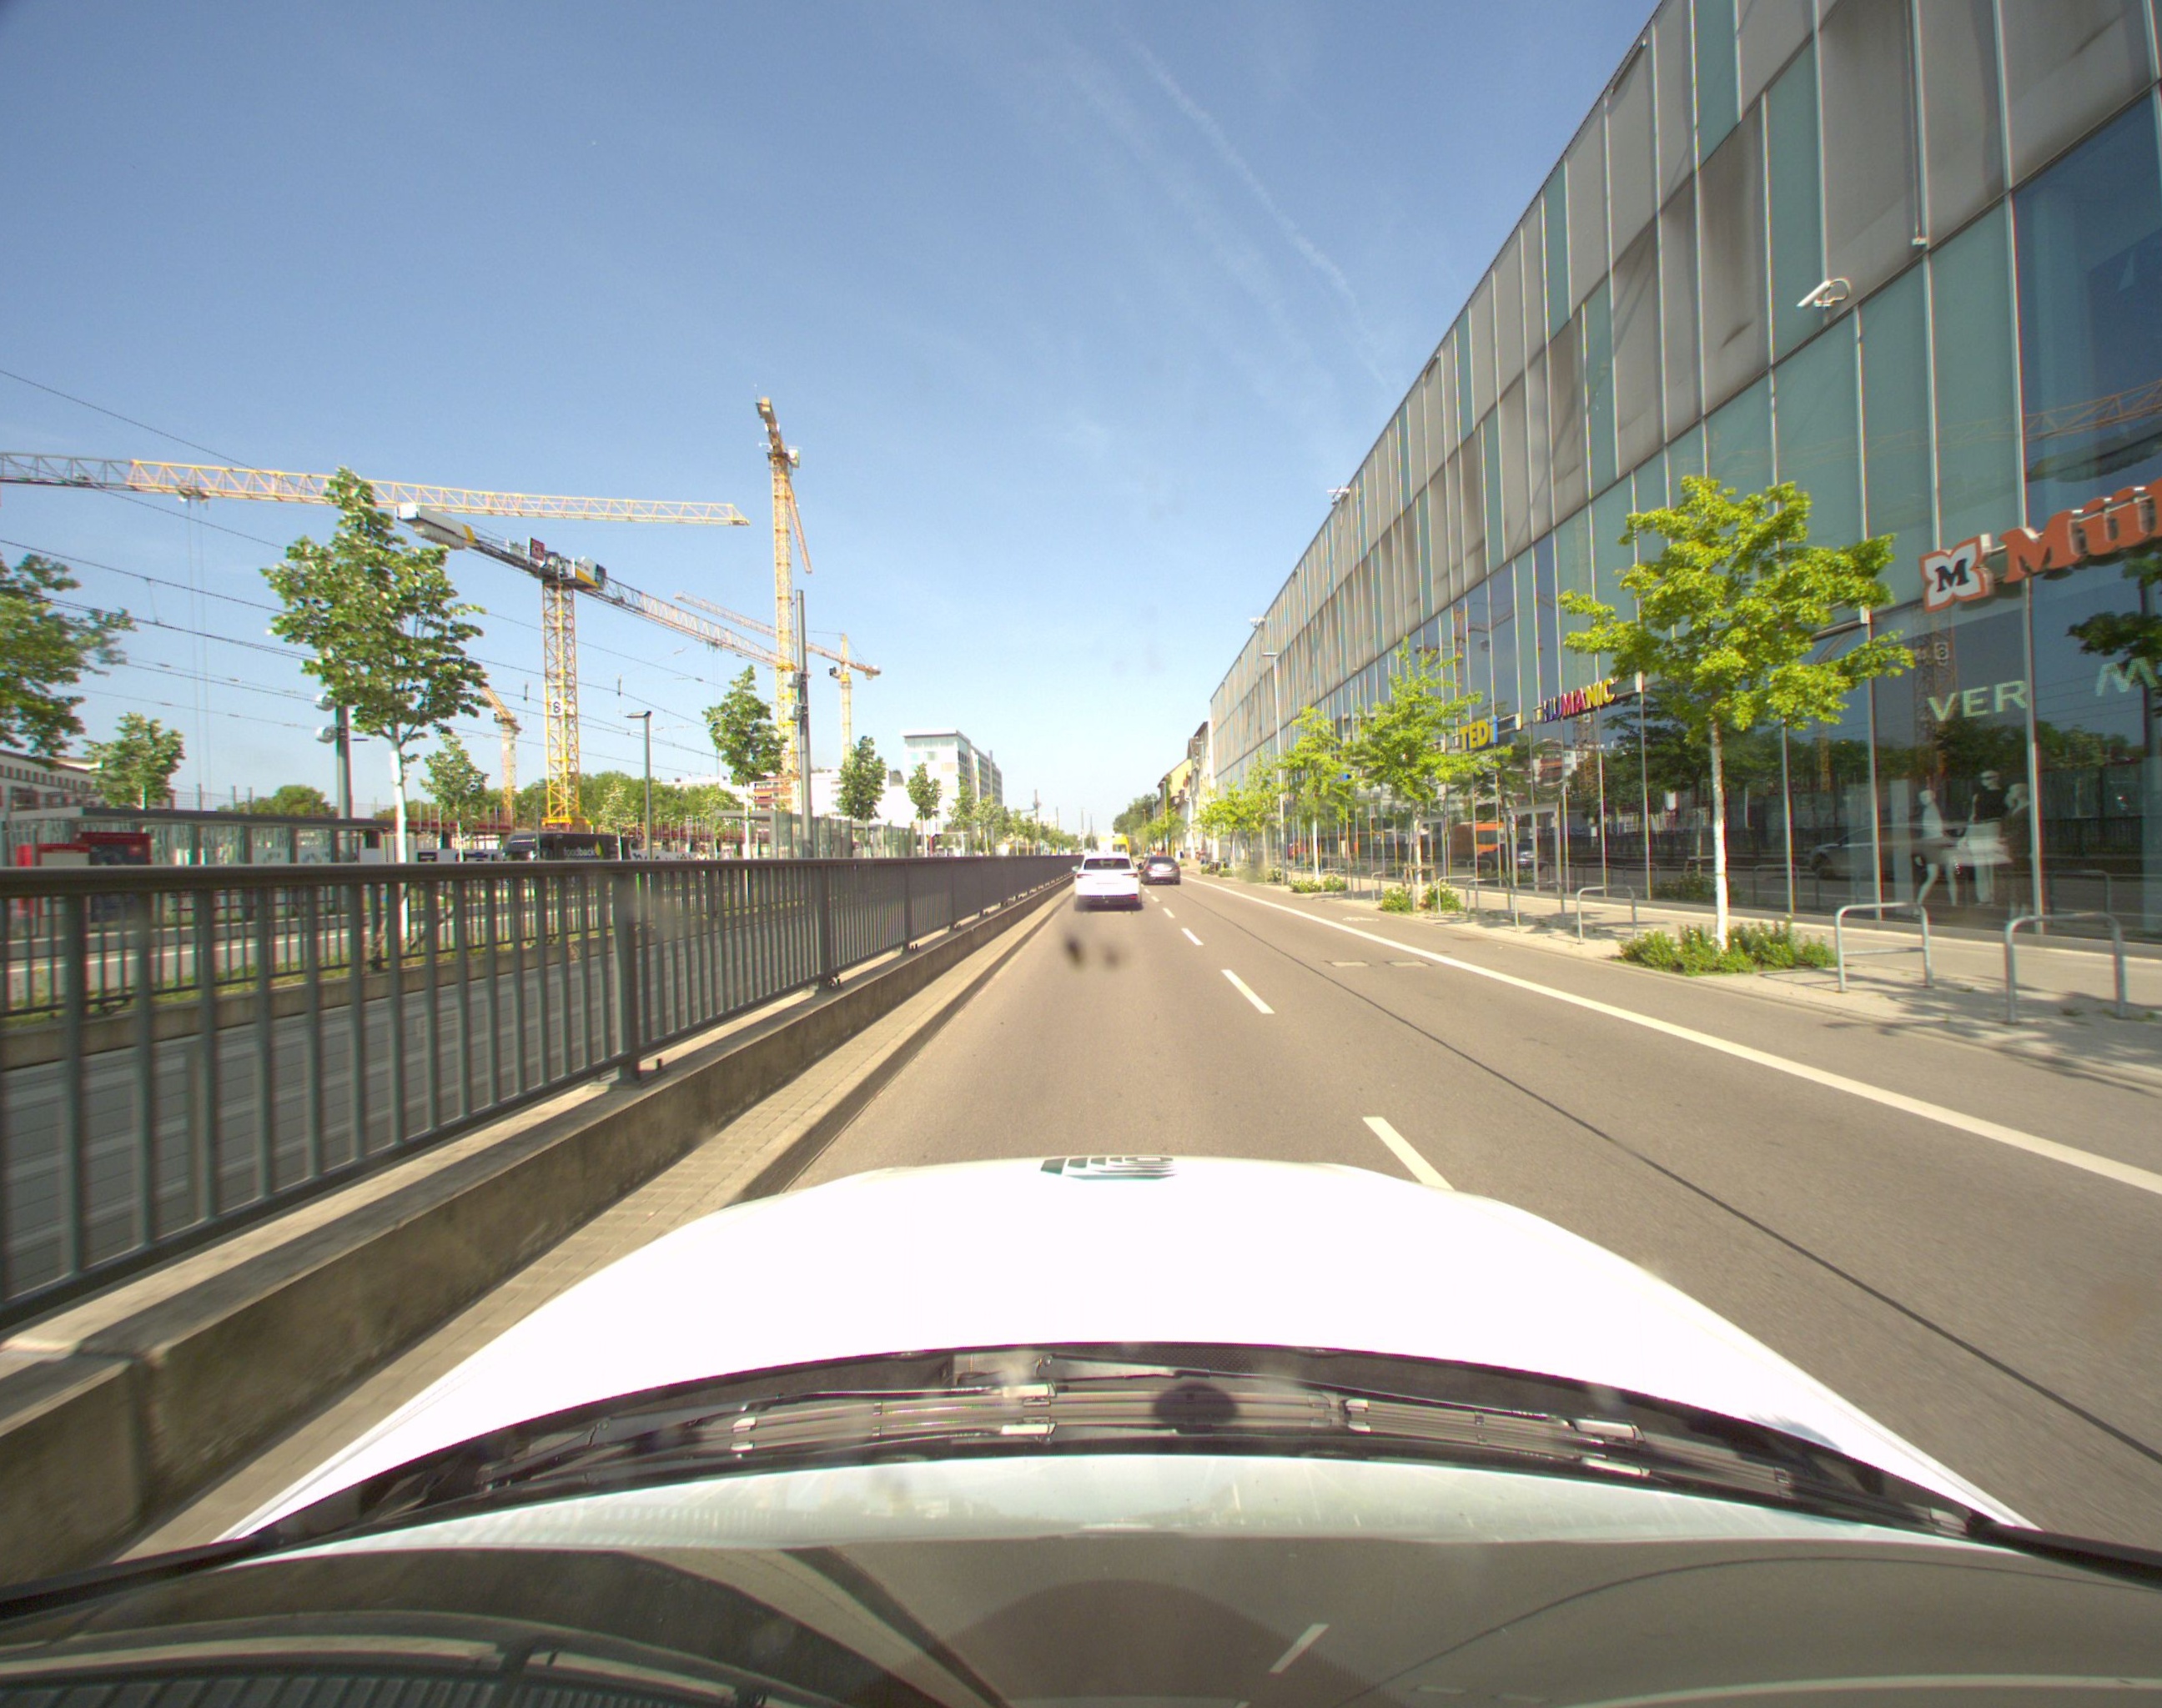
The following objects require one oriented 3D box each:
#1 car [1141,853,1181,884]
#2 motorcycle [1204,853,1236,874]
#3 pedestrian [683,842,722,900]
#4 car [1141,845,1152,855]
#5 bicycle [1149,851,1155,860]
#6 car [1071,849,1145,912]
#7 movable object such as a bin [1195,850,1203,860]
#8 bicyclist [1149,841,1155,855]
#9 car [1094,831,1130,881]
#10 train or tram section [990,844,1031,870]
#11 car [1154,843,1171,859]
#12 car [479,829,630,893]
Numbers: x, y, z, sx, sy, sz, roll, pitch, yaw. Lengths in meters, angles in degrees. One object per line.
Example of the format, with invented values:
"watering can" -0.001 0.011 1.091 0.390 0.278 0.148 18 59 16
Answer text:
"car" 3.895 0.685 40.215 1.753 1.436 4.118 0 0 3
"motorcycle" 9.778 0.657 57.255 1.968 1.349 0.865 -2 0 -9
"pedestrian" -10.903 0.478 23.470 0.733 1.619 0.711 -2 0 1
"car" 12.485 -0.751 155.177 1.805 1.812 3.837 -1 0 2
"bicycle" 8.247 0.154 94.979 0.652 0.938 1.519 -2 0 4
"car" 0.791 0.679 23.124 1.862 1.574 4.003 -2 0 2
"movable object such as a bin" 14.053 0.060 97.062 0.674 1.152 0.610 -3 3 -42
"bicyclist" 8.204 -0.686 94.604 0.636 1.577 0.772 -2 0 4
"car" 1.894 0.049 49.629 2.012 2.795 5.405 -2 2 2
"train or tram section" -10.520 0.477 124.278 2.892 3.676 18.163 0 0 5
"car" 11.163 -0.412 111.671 2.055 2.013 4.590 -2 1 2
"car" -32.068 0.371 50.243 3.042 3.513 9.237 -1 0 2
